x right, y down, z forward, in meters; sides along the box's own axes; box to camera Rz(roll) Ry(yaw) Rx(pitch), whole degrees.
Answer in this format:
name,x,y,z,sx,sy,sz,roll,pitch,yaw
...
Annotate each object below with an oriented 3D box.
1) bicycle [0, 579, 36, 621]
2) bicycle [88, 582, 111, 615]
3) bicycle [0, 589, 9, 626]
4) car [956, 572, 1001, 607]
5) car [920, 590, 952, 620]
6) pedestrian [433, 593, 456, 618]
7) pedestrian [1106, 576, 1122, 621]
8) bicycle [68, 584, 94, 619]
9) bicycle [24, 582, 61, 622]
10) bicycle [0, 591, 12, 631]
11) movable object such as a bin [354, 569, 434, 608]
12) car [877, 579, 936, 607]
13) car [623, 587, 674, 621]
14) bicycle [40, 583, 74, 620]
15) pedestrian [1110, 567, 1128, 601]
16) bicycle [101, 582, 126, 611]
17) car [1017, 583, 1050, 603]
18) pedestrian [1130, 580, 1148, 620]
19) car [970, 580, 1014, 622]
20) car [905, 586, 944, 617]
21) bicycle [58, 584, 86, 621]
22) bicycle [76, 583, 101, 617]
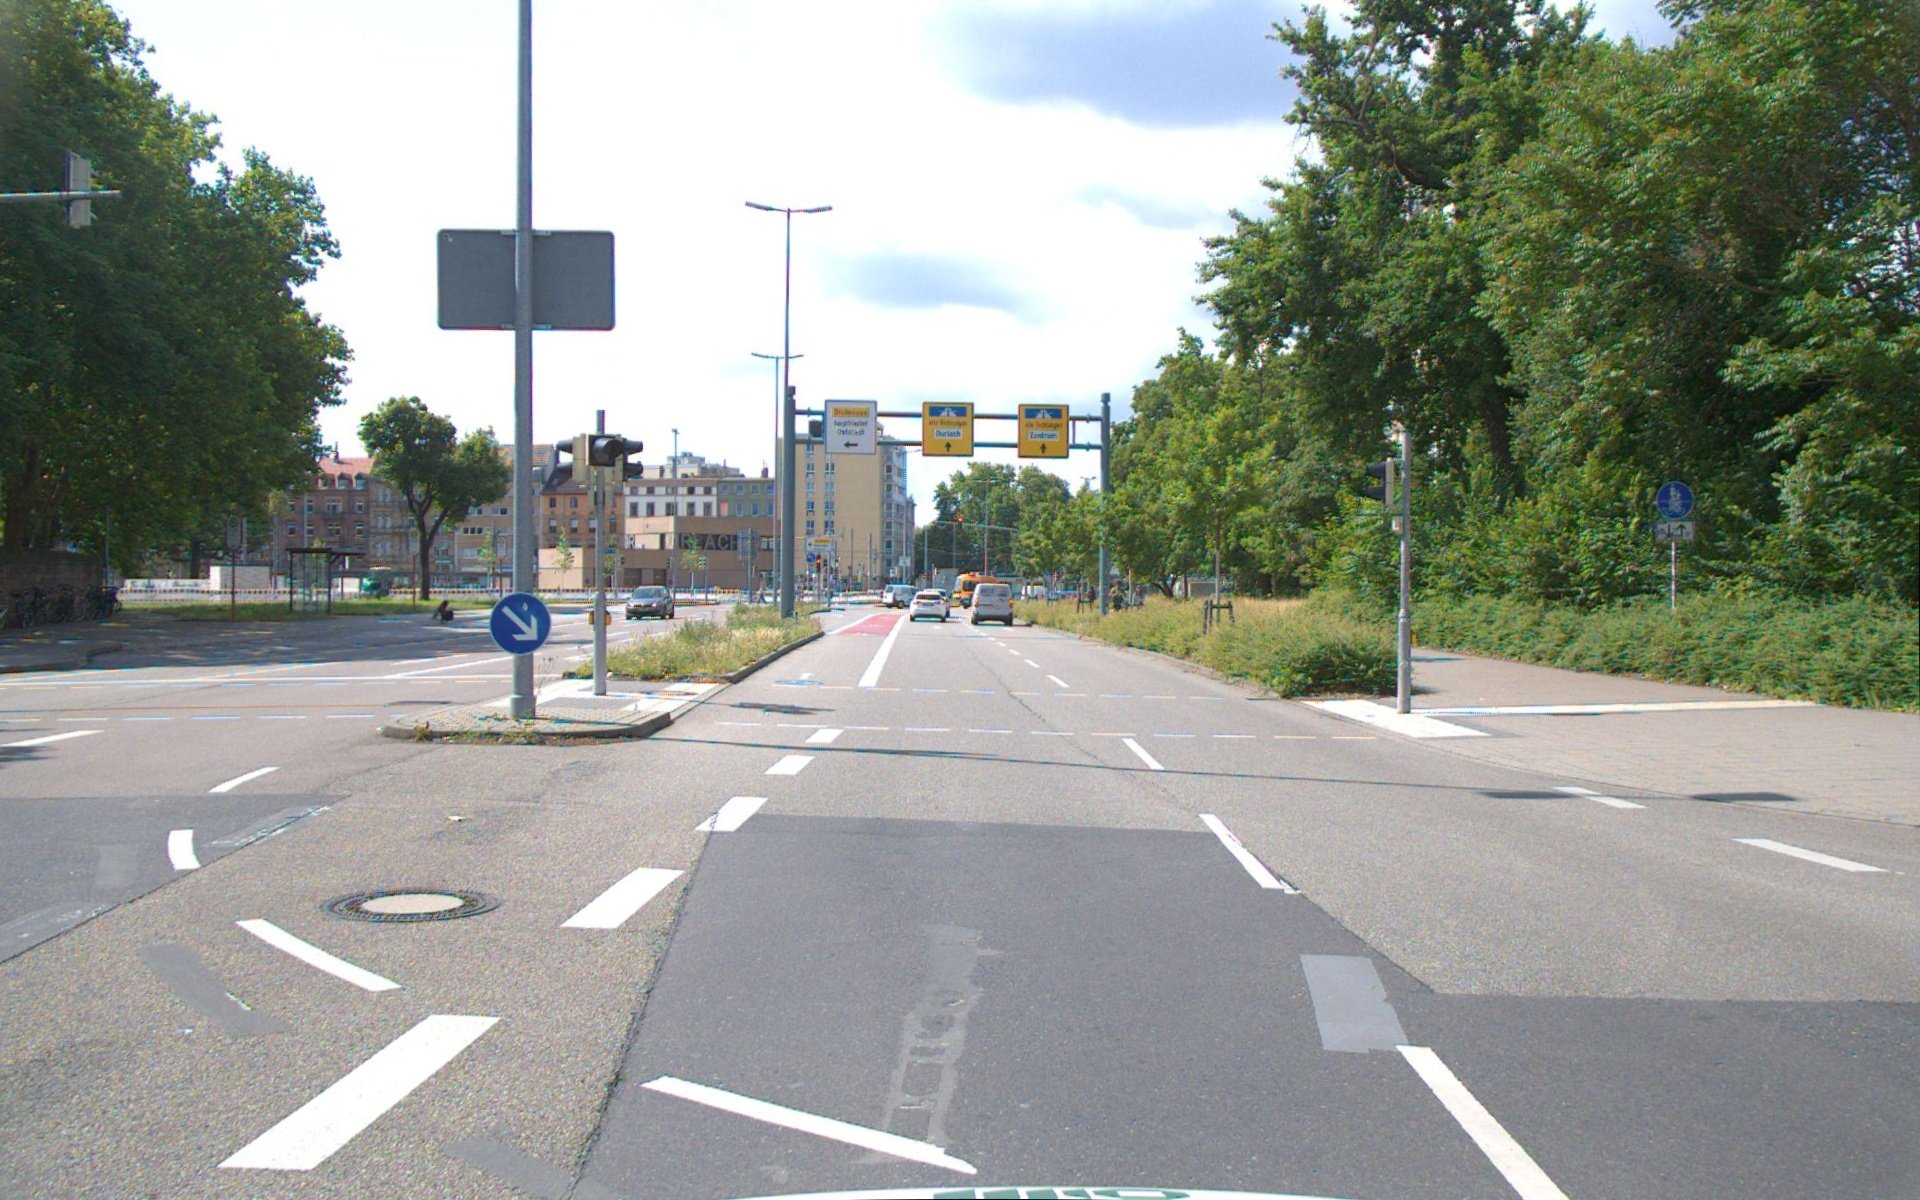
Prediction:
name,x,y,z,sx,sy,sz,roll,pitch,yaw
bicycle,-25.683,-0.007,44.999,0.573,1.092,1.747,1,1,-17
bicycle,-29.948,-0.060,57.587,0.574,1.092,1.620,1,1,-23
bicycle,-25.260,0.202,43.204,0.364,0.972,1.619,1,1,-17
car,1.557,-0.839,135.134,2.086,2.829,4.638,0,0,22
car,-1.349,0.278,93.423,1.754,1.566,4.010,2,1,-1
pedestrian,-20.366,0.221,65.304,0.680,0.979,0.742,1,0,-3
pedestrian,6.224,-0.063,66.713,0.555,1.833,0.638,1,0,-2
bicycle,-28.039,0.044,52.765,0.574,1.092,1.743,1,1,-23
bicycle,-26.208,0.052,47.256,0.573,1.092,1.747,1,1,-17
bicycle,-23.755,0.266,40.184,0.358,0.972,1.626,1,1,7
movable object such as a bin,-43.790,-0.879,128.056,2.247,2.935,5.509,0,0,42
car,-4.023,-0.514,124.565,3.943,1.847,1.981,4,0,-29
car,-14.022,0.168,74.636,1.666,1.470,4.144,-1,1,-2
bicycle,-26.872,0.036,49.231,0.573,1.092,1.746,1,1,-19
pedestrian,8.010,-0.803,83.382,0.850,1.667,0.721,1,0,0
bicycle,-32.873,-0.157,64.230,0.573,1.092,1.860,1,1,-19
car,7.640,-0.721,171.877,1.965,2.001,4.638,0,0,22
pedestrian,7.244,-0.014,66.954,0.610,1.608,0.708,1,0,-2
car,1.473,0.006,77.469,1.903,1.902,4.825,1,1,-1
car,-1.710,0.038,81.310,1.865,1.448,4.384,1,1,-1
bicycle,-27.408,0.067,51.062,0.574,1.092,1.743,1,1,-23
bicycle,-28.762,-0.005,54.580,0.574,1.092,1.743,1,1,-23
